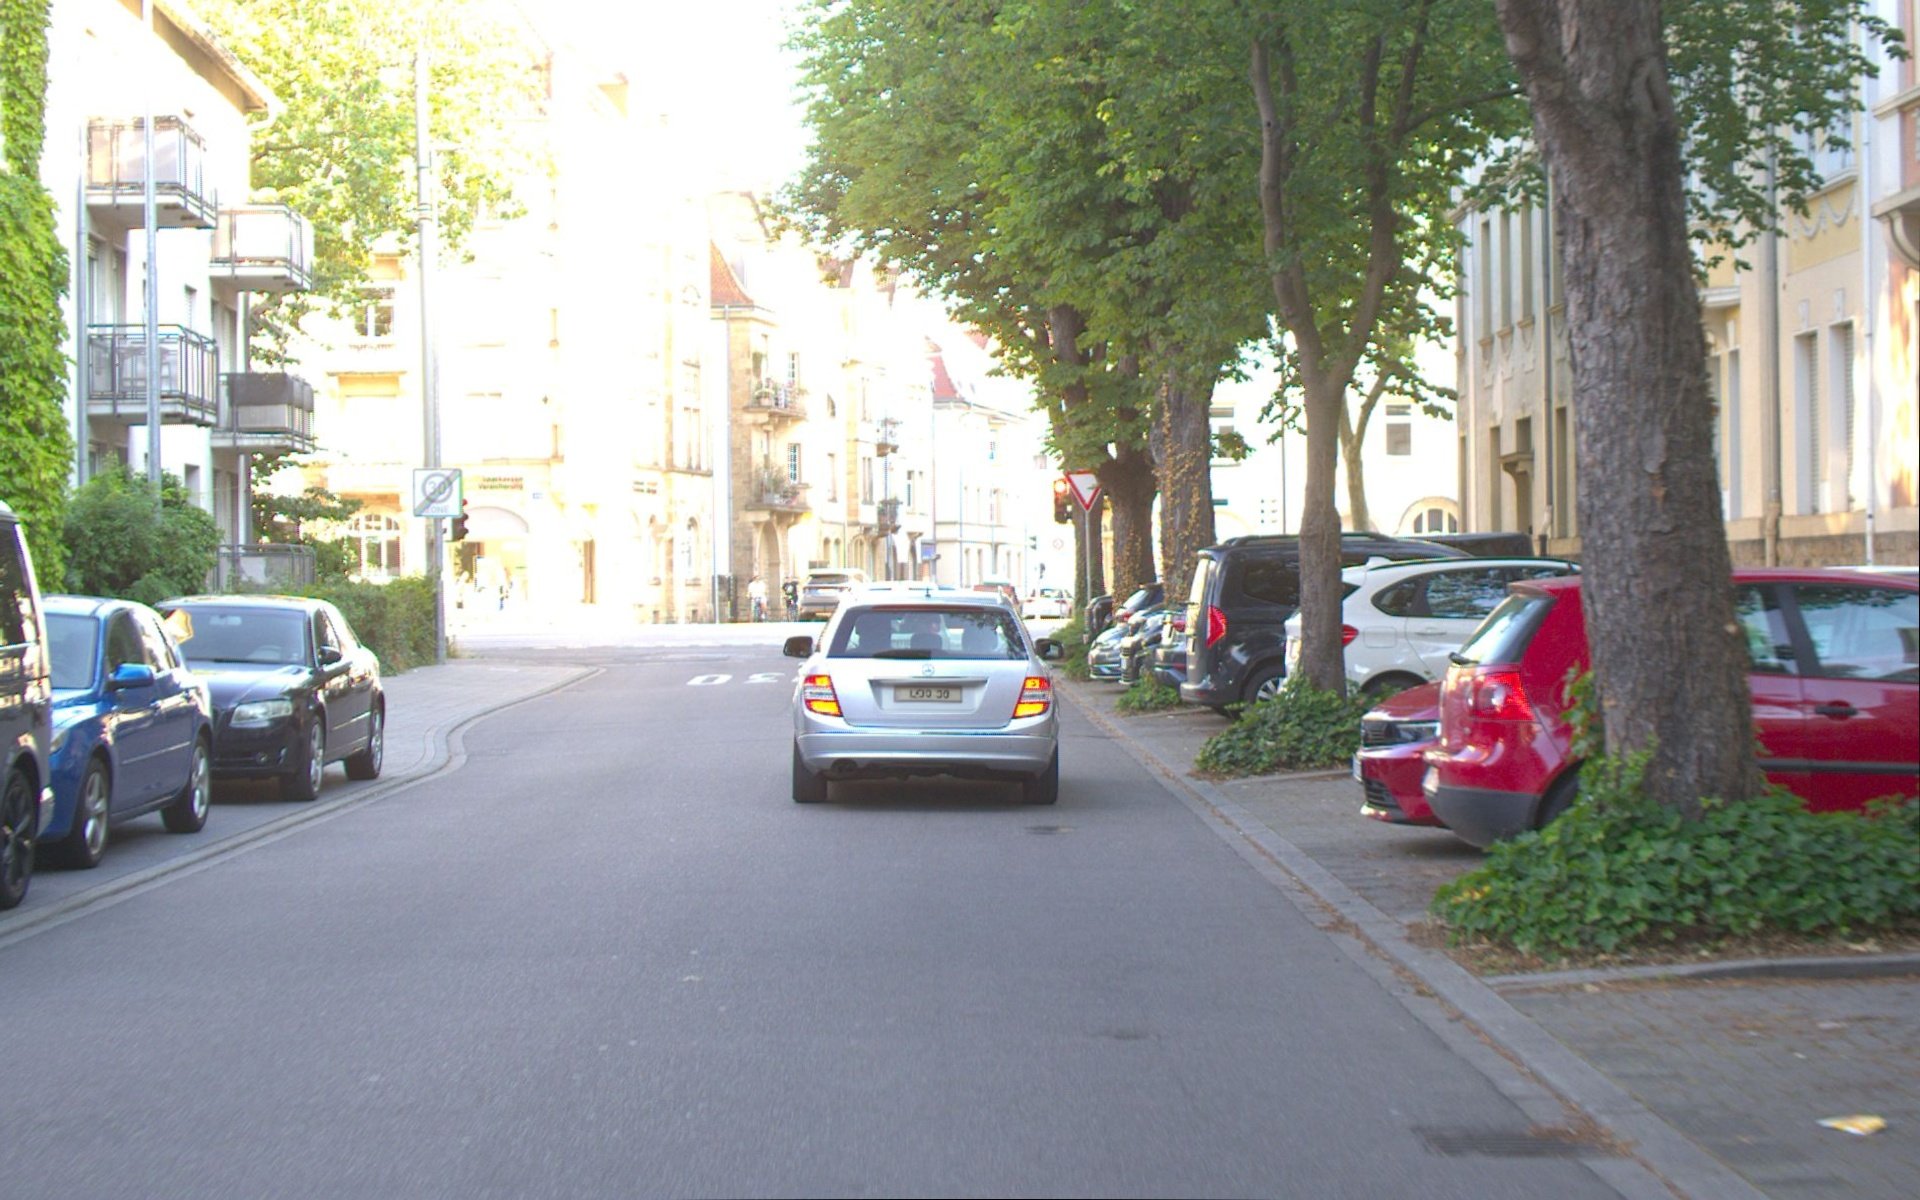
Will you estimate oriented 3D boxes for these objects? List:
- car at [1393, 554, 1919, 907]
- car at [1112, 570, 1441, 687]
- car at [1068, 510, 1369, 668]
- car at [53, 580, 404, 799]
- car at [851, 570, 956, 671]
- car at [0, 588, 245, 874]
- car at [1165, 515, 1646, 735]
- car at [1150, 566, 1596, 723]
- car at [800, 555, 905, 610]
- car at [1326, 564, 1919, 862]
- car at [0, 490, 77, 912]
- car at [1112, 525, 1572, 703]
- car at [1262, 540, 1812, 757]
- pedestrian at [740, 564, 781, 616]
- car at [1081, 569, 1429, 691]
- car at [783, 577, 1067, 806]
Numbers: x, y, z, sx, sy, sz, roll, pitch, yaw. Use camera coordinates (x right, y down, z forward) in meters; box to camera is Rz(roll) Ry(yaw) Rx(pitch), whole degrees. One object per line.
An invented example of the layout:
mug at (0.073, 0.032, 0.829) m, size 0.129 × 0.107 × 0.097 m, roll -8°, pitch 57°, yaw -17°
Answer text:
car at (4.245, 0.535, 16.109) m, size 4.190 × 1.470 × 1.851 m, roll -2°, pitch 0°, yaw 2°
car at (4.319, 0.373, 47.339) m, size 4.287 × 1.535 × 1.899 m, roll 0°, pitch 1°, yaw -2°
car at (3.932, -0.187, 52.800) m, size 4.388 × 2.356 × 2.000 m, roll 0°, pitch 1°, yaw -2°
car at (-5.353, 0.599, 25.682) m, size 1.695 × 1.442 × 4.358 m, roll 1°, pitch 1°, yaw 0°
car at (-0.894, 0.308, 56.270) m, size 1.623 × 1.564 × 3.680 m, roll 0°, pitch 1°, yaw 0°
car at (-5.473, 0.681, 20.214) m, size 1.653 × 1.442 × 4.237 m, roll 1°, pitch 1°, yaw 0°
car at (4.176, 0.224, 32.703) m, size 4.219 × 1.890 × 1.906 m, roll -2°, pitch 0°, yaw -2°
car at (4.179, 0.429, 35.255) m, size 4.287 × 1.535 × 1.877 m, roll 0°, pitch 1°, yaw -2°
car at (-3.150, -0.526, 101.598) m, size 1.995 × 1.579 × 3.997 m, roll 0°, pitch 1°, yaw 15°
car at (4.294, 0.559, 18.708) m, size 4.411 × 1.414 × 1.877 m, roll -2°, pitch 0°, yaw 2°
car at (-5.382, 0.467, 14.816) m, size 1.982 × 1.941 × 4.852 m, roll 1°, pitch 1°, yaw -1°
car at (4.380, 0.142, 39.965) m, size 5.053 × 1.982 × 2.072 m, roll 0°, pitch 1°, yaw -2°
car at (4.619, 0.378, 27.977) m, size 4.110 × 1.566 × 1.877 m, roll -2°, pitch 0°, yaw 0°
pedestrian at (-6.742, -0.339, 116.340) m, size 1.221 × 1.716 × 1.503 m, roll 1°, pitch 0°, yaw 3°
car at (3.808, 0.373, 44.891) m, size 4.287 × 1.412 × 1.877 m, roll -2°, pitch 1°, yaw -2°
car at (-0.214, 0.581, 23.677) m, size 1.784 × 1.432 × 3.851 m, roll 0°, pitch 0°, yaw 0°
